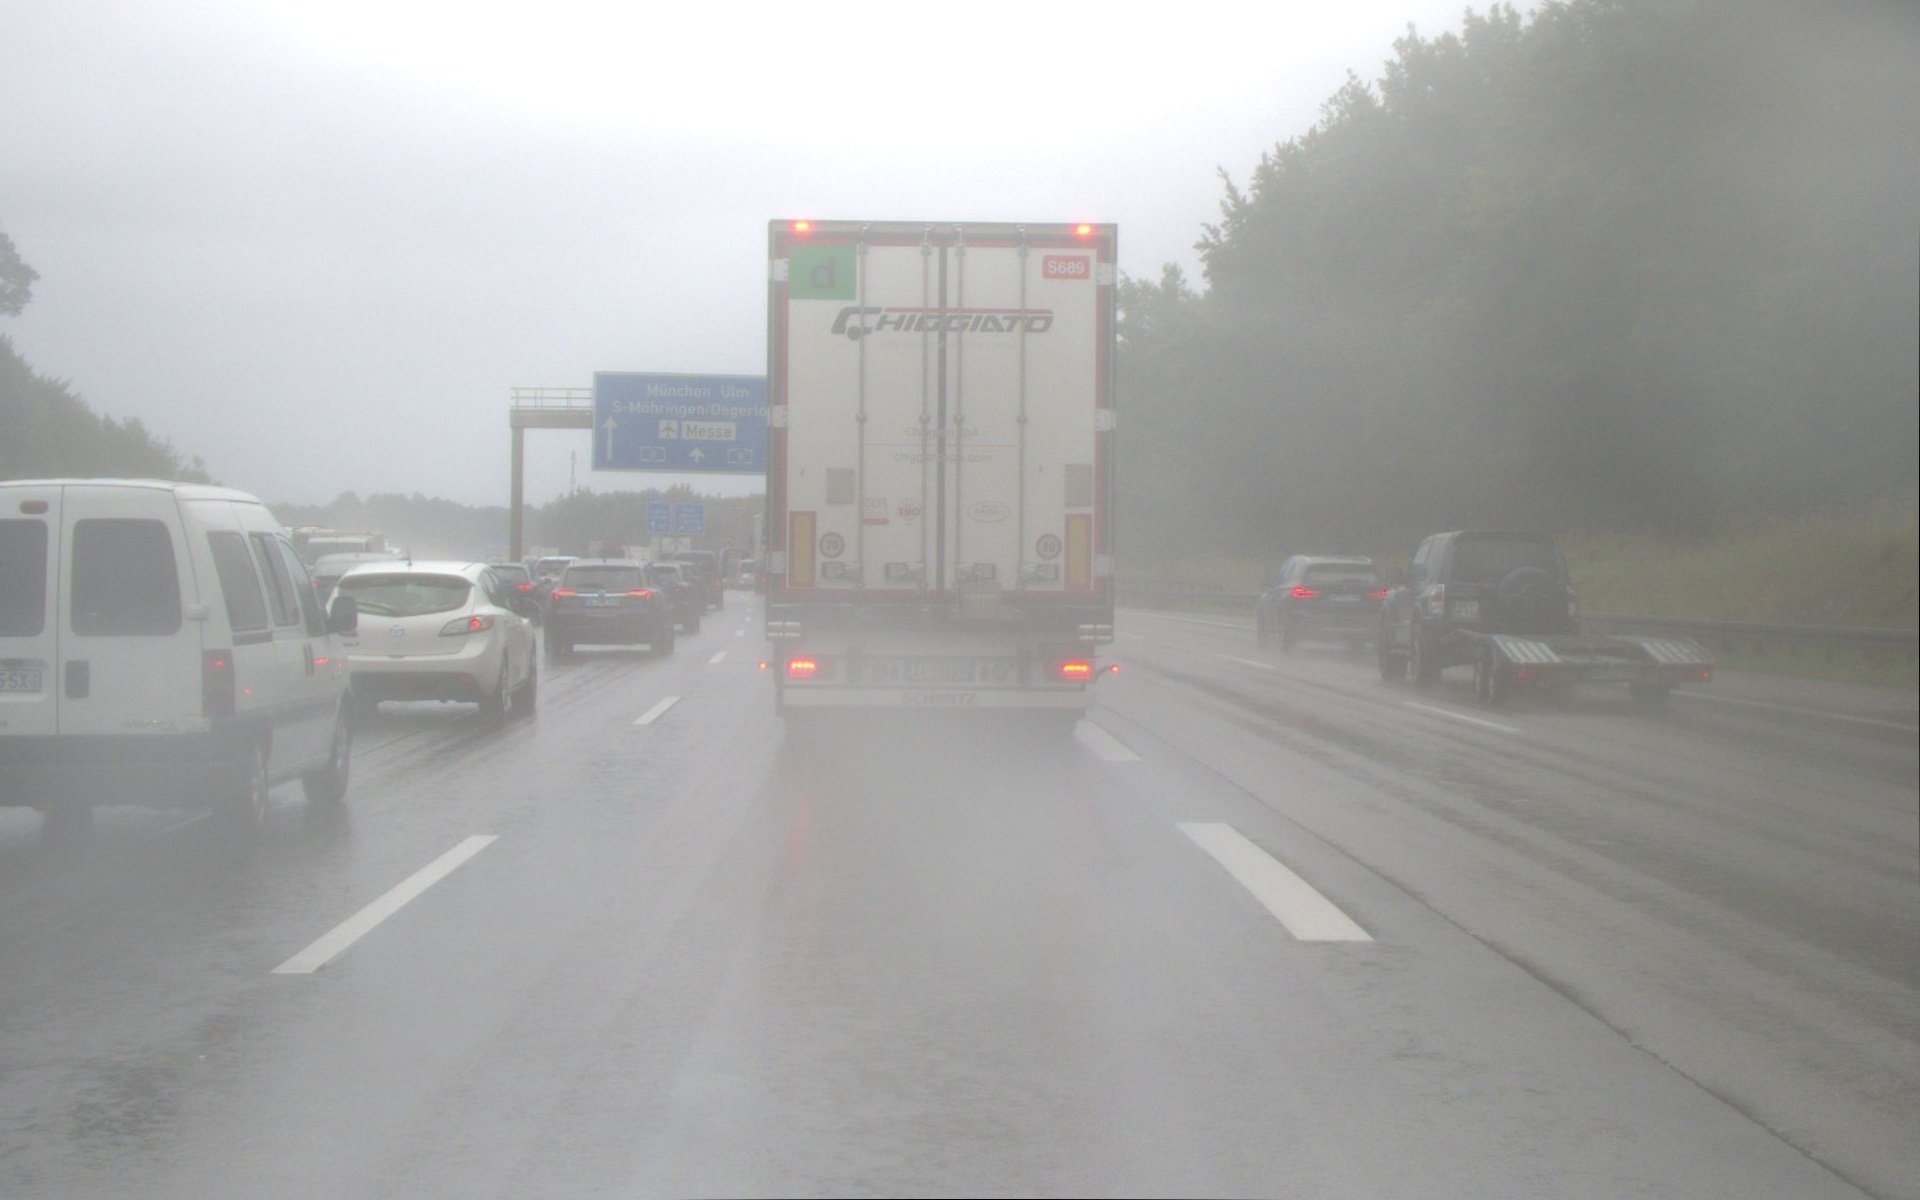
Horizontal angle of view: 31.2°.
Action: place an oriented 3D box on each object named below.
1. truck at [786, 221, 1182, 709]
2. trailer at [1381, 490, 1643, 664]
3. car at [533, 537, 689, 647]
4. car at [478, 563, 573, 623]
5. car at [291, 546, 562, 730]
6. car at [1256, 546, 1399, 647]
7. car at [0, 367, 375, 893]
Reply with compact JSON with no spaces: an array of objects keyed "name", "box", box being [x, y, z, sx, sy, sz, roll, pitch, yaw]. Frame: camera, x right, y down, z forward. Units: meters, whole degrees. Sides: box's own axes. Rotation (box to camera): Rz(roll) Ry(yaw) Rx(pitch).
[{"name":"truck","box":[0.164,-1.037,30.880,2.872,3.550,11.302,1,0,0]},{"name":"trailer","box":[5.805,-0.280,36.766,2.243,1.709,5.082,1,1,3]},{"name":"car","box":[-5.270,-0.162,52.368,1.845,1.586,4.466,1,1,1]},{"name":"car","box":[-10.156,-0.183,80.546,1.845,1.326,4.467,1,1,-3]},{"name":"car","box":[-4.939,0.299,32.315,1.845,1.586,4.072,1,1,1]},{"name":"car","box":[6.080,-0.089,57.382,1.990,1.578,4.767,1,1,2]},{"name":"car","box":[-4.706,0.094,19.316,2.212,2.564,5.016,1,1,-3]}]
